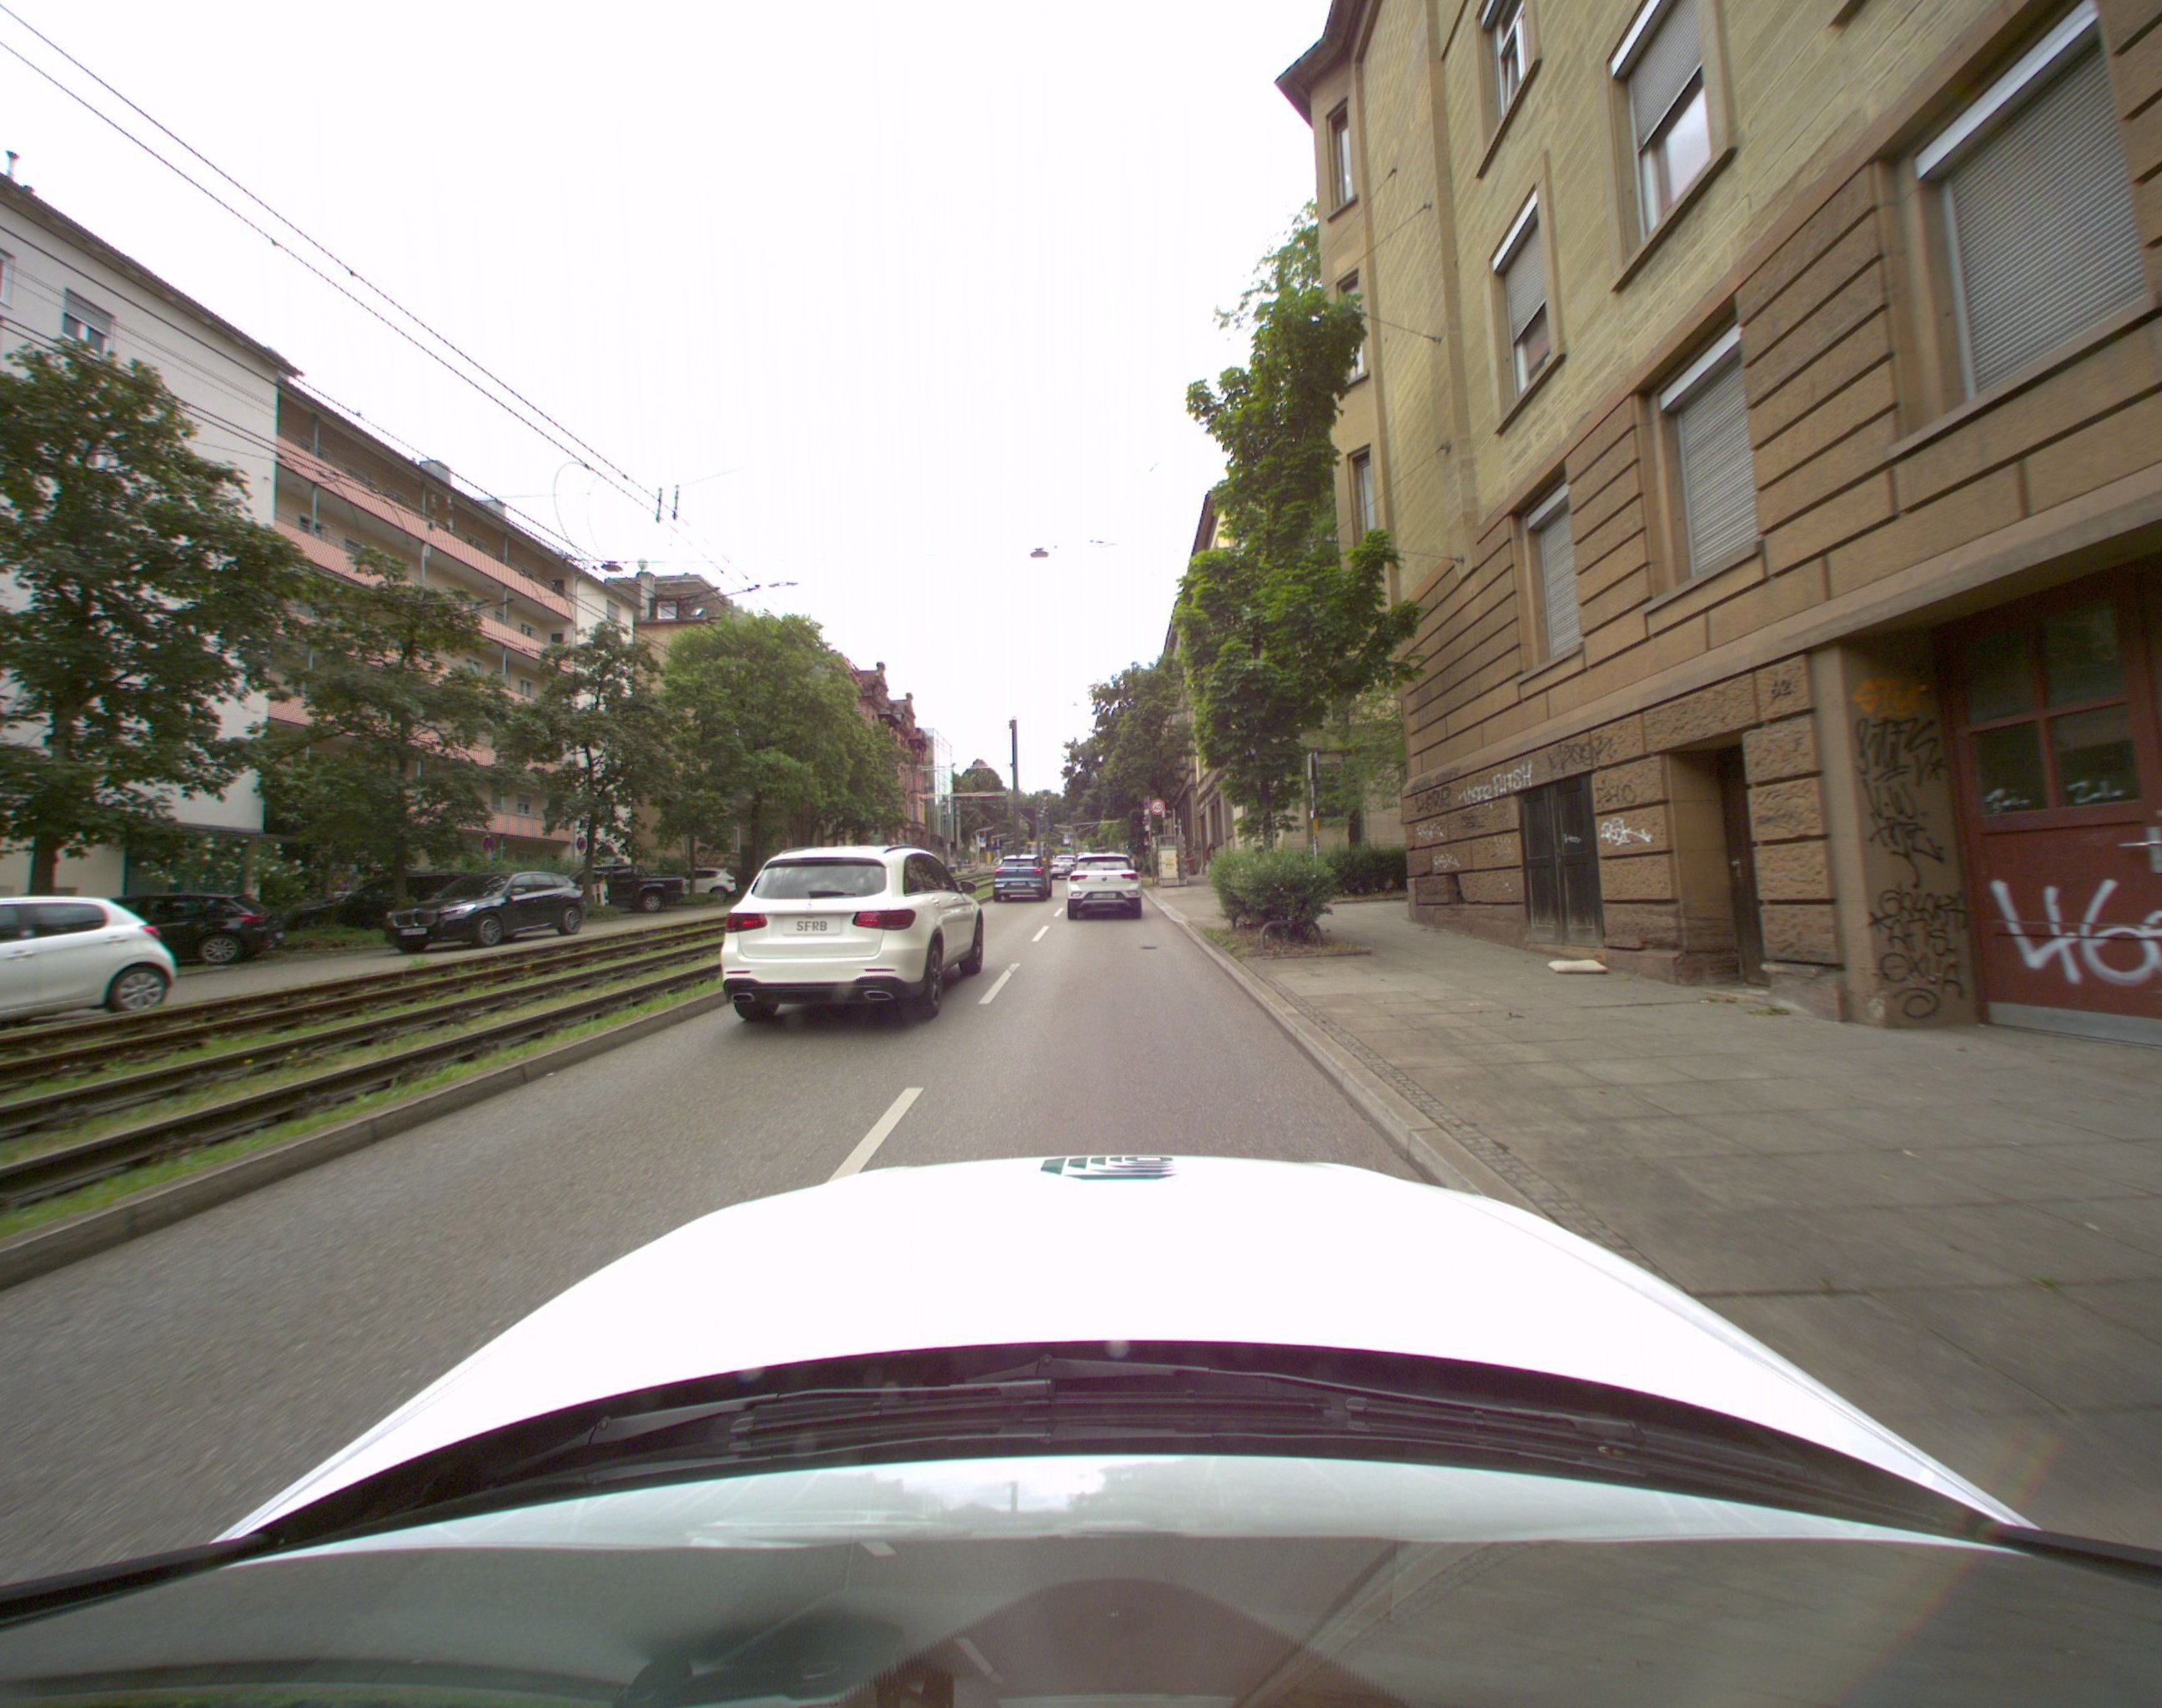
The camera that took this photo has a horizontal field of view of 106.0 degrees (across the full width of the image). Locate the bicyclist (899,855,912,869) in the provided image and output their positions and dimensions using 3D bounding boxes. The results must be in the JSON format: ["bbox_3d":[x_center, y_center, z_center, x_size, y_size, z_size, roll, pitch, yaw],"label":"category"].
[{"bbox_3d":[-17.895,0.834,83.157,0.935,1.425,1.188,-2,0,1],"label":"bicyclist"}]

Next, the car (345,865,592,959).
[{"bbox_3d":[-13.439,1.177,18.332,1.910,1.650,4.608,-4,0,1],"label":"car"}]

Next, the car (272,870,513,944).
[{"bbox_3d":[-17.925,1.299,21.553,4.623,1.682,1.917,0,0,-32],"label":"car"}]

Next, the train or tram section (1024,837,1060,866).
[{"bbox_3d":[-4.720,-0.275,100.892,2.983,3.349,13.448,-2,0,3],"label":"train or tram section"}]

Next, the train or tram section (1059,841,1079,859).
[{"bbox_3d":[-2.281,-0.749,158.586,2.983,3.349,13.448,-2,0,3],"label":"train or tram section"}]

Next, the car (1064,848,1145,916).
[{"bbox_3d":[0.571,0.646,20.677,1.829,1.546,4.194,-1,0,1],"label":"car"}]

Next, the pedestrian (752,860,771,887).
[{"bbox_3d":[-20.668,1.249,52.640,0.828,1.684,0.848,-3,0,0],"label":"pedestrian"}]

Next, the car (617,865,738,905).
[{"bbox_3d":[-17.909,1.330,36.205,4.624,1.617,1.916,0,0,-32],"label":"car"}]

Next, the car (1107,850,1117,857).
[{"bbox_3d":[7.125,-0.161,187.130,2.060,1.546,4.195,-1,0,2],"label":"car"}]

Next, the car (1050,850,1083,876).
[{"bbox_3d":[-0.859,0.551,51.304,1.828,1.546,4.195,-1,0,2],"label":"car"}]

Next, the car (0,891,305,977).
[{"bbox_3d":[-18.473,1.493,15.790,4.623,1.344,1.917,0,0,-32],"label":"car"}]

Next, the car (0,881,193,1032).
[{"bbox_3d":[-11.611,1.107,8.145,1.582,1.435,3.413,-4,0,1],"label":"car"}]

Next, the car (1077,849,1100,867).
[{"bbox_3d":[0.702,0.382,72.316,1.828,1.546,4.195,-1,0,2],"label":"car"}]

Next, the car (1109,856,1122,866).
[{"bbox_3d":[5.588,1.129,133.307,2.060,1.546,4.195,-1,0,2],"label":"car"}]

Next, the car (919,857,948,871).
[{"bbox_3d":[-14.902,0.995,82.438,1.985,1.403,4.003,-2,0,3],"label":"car"}]

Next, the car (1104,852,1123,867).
[{"bbox_3d":[3.639,0.620,92.030,2.060,1.546,4.195,-1,0,2],"label":"car"}]

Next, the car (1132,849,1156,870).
[{"bbox_3d":[5.480,0.465,71.032,1.828,1.601,4.195,-4,0,2],"label":"car"}]

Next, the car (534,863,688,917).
[{"bbox_3d":[-17.411,1.257,30.301,1.912,1.797,4.634,-1,0,45],"label":"car"}]

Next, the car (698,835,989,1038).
[{"bbox_3d":[-2.250,0.695,9.145,1.829,1.667,4.670,-1,0,0],"label":"car"}]

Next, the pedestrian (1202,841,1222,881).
[{"bbox_3d":[5.656,0.291,35.171,0.705,1.662,1.131,-2,0,14],"label":"pedestrian"}]

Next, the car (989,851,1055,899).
[{"bbox_3d":[-1.980,0.679,28.606,1.828,1.546,4.195,-1,0,2],"label":"car"}]
